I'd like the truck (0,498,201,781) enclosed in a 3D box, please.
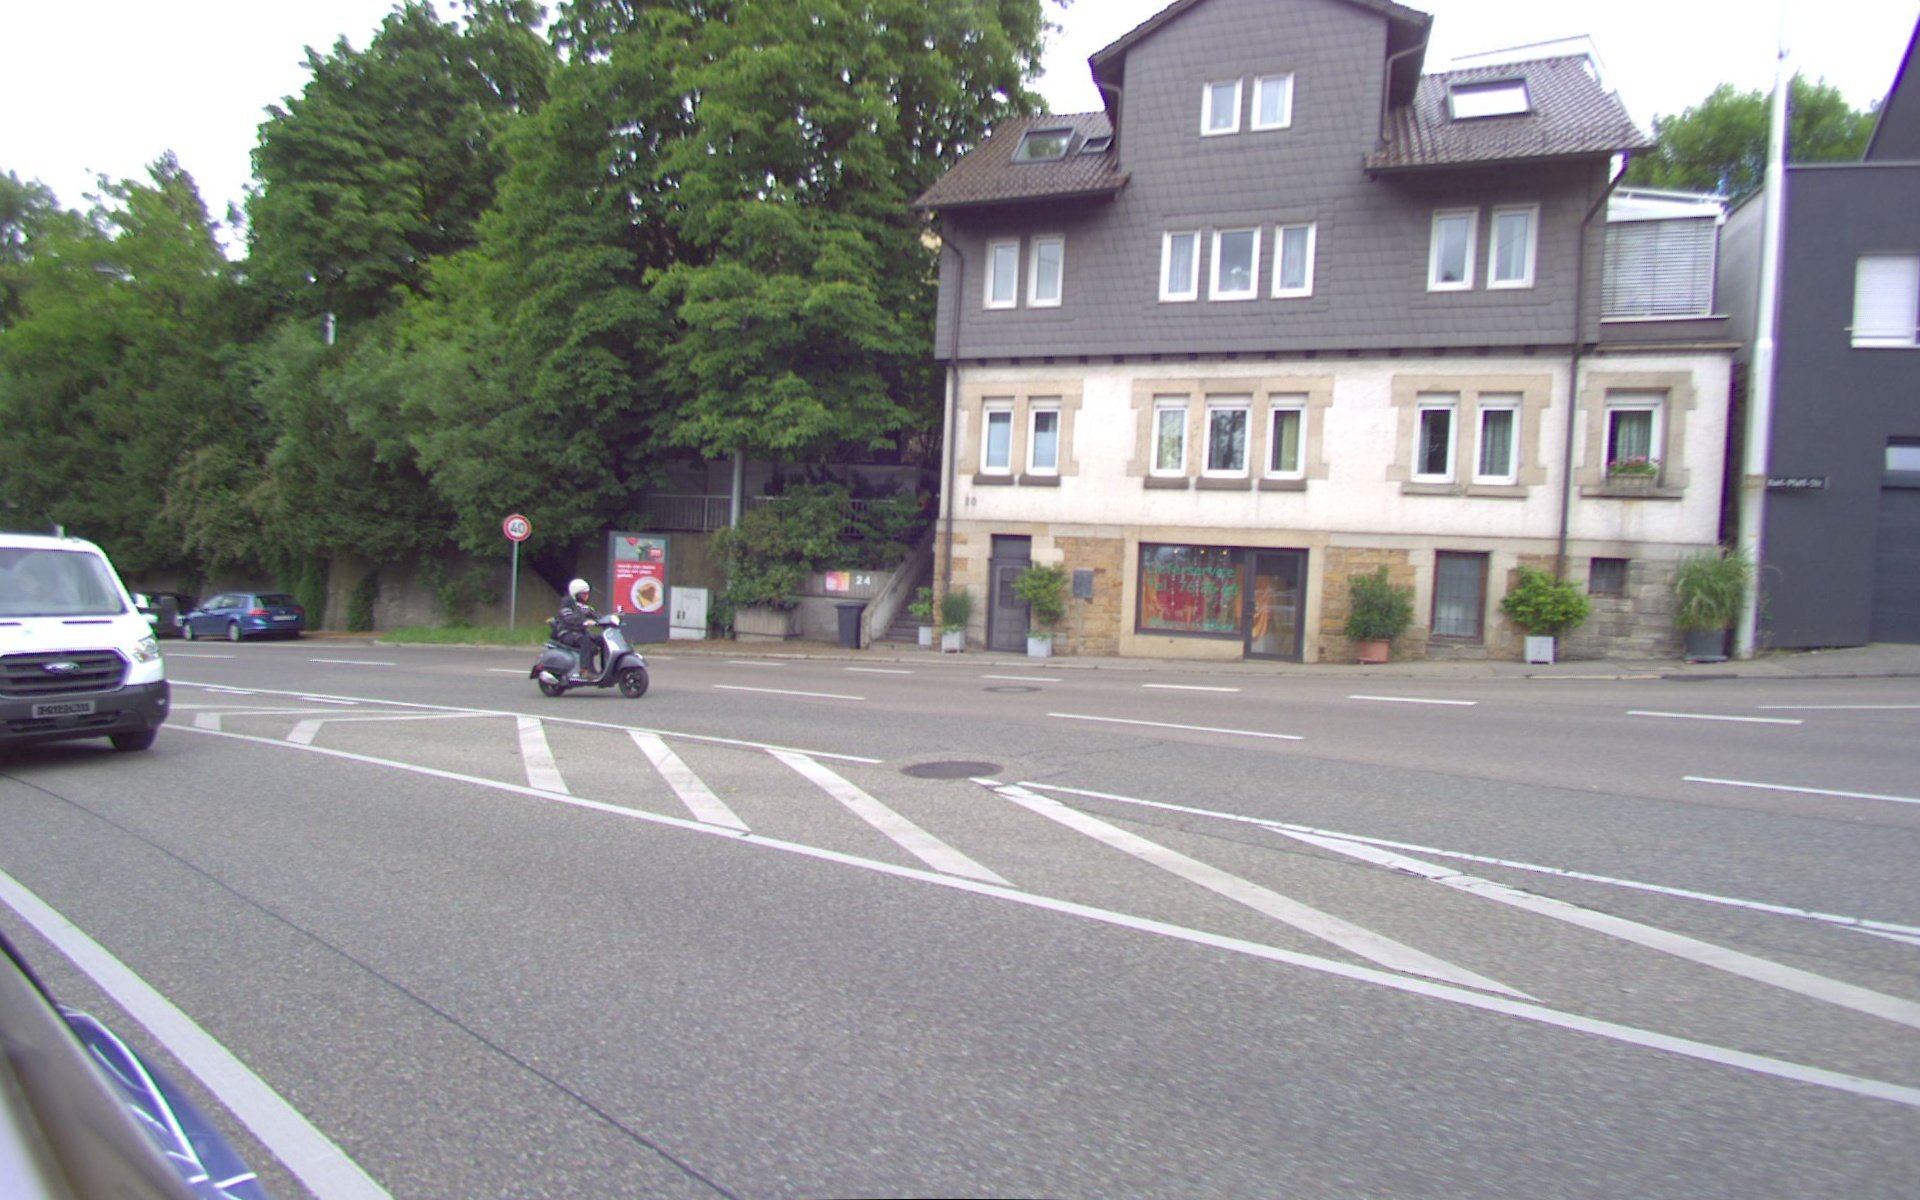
[{"bbox_3d":[-10.497,0.303,10.268,6.304,2.338,2.062,0,1,29],"label":"truck"}]

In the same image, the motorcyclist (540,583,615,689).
[{"bbox_3d":[-5.332,0.490,14.125,0.717,1.429,0.680,-1,0,18],"label":"motorcyclist"}]

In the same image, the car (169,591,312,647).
[{"bbox_3d":[-21.690,0.559,30.477,4.279,1.540,1.702,-1,1,27],"label":"car"}]

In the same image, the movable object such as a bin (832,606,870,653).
[{"bbox_3d":[-2.462,0.653,22.847,0.645,1.027,0.534,2,1,32],"label":"movable object such as a bin"}]

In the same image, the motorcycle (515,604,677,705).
[{"bbox_3d":[-5.060,0.733,14.091,2.028,1.308,0.825,-1,2,18],"label":"motorcycle"}]

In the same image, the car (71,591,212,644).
[{"bbox_3d":[-26.789,0.565,33.113,4.141,1.641,1.773,-1,1,22],"label":"car"}]
